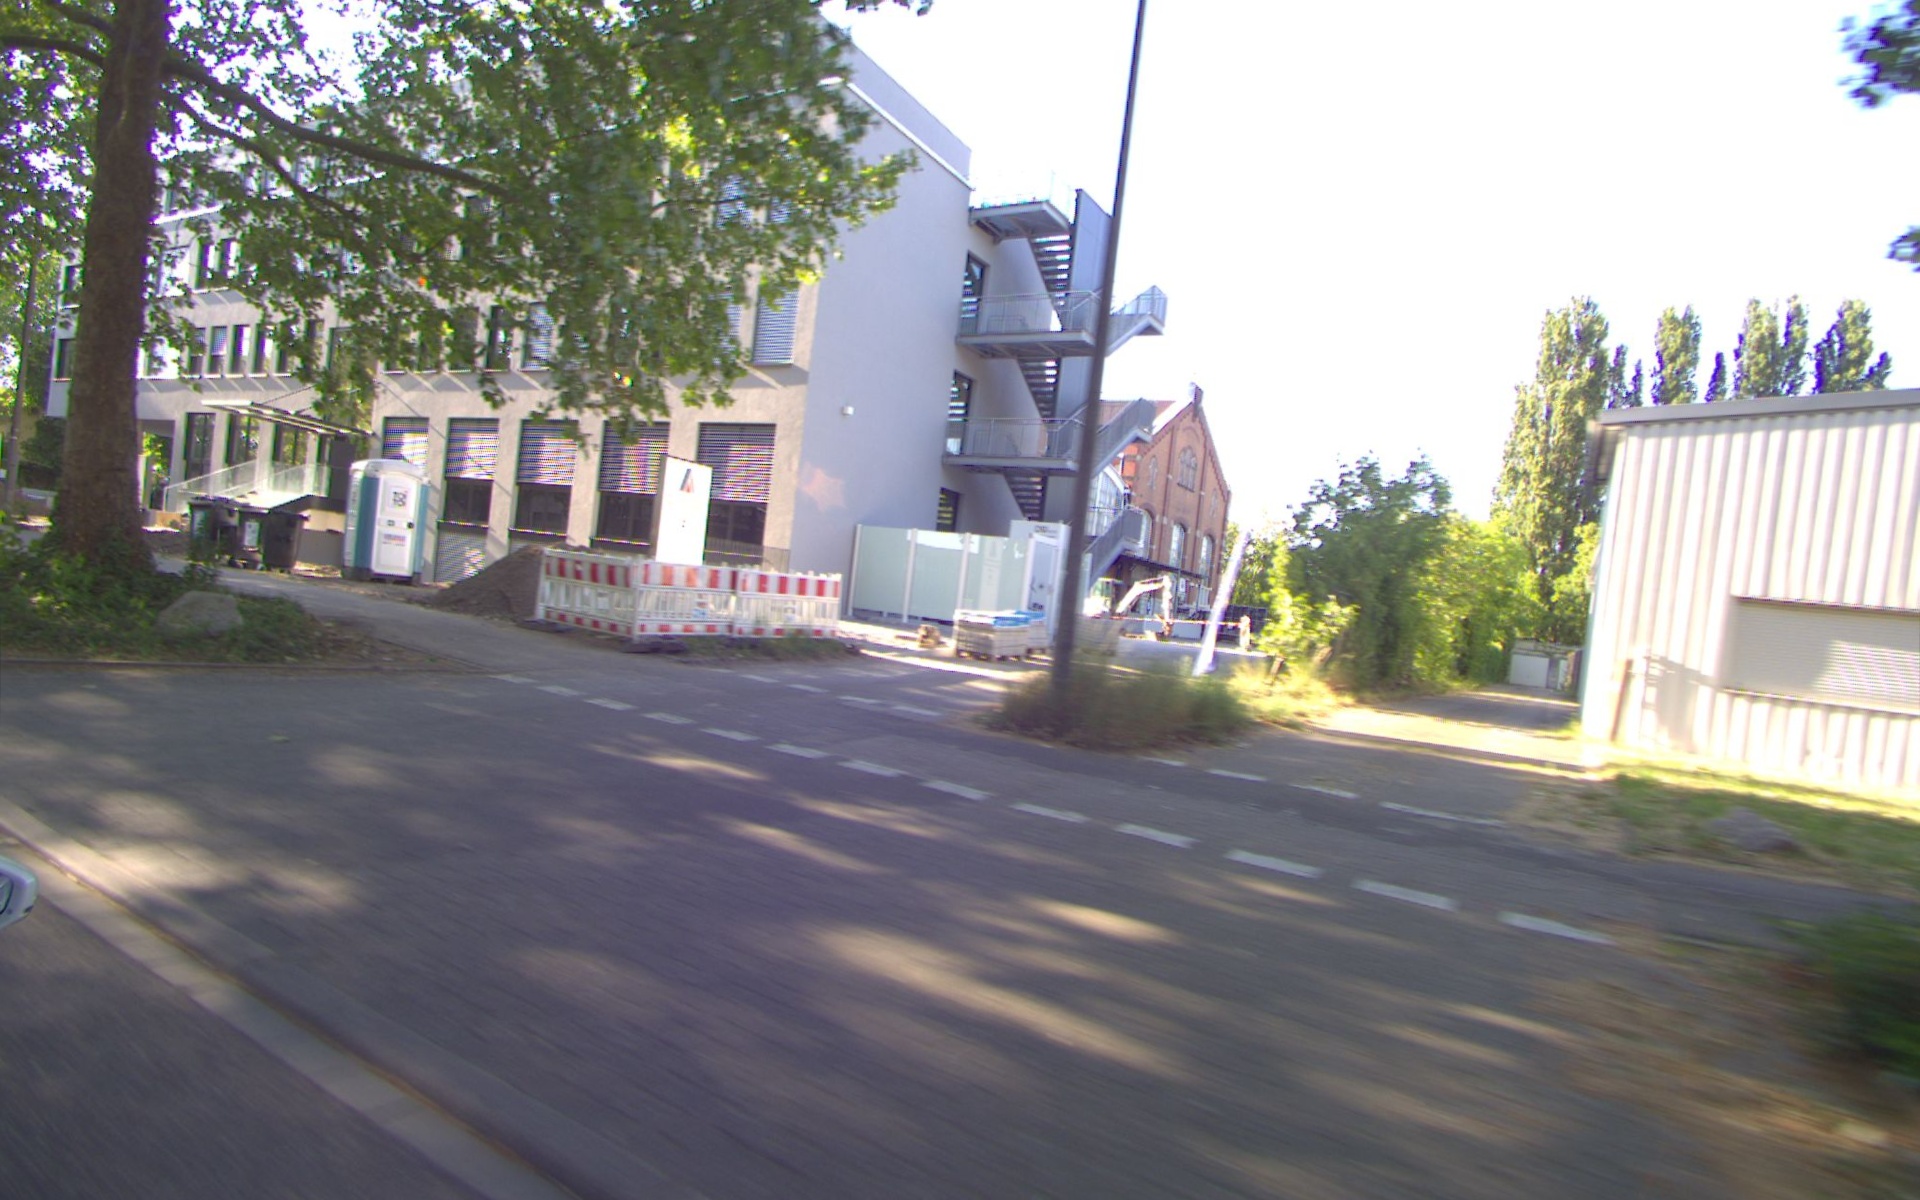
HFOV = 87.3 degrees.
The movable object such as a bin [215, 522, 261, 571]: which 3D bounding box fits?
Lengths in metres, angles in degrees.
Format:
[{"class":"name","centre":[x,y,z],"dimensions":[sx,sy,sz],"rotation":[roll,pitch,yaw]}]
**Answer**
[{"class":"movable object such as a bin","centre":[-14.916,-1.109,20.773],"dimensions":[0.589,0.911,0.493],"rotation":[7,-1,31]}]

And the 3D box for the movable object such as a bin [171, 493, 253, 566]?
[{"class":"movable object such as a bin","centre":[-15.859,-1.494,21.322],"dimensions":[1.594,1.366,0.749],"rotation":[6,-1,32]}]

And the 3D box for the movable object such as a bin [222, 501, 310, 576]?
[{"class":"movable object such as a bin","centre":[-13.679,-1.220,19.830],"dimensions":[1.585,1.278,0.749],"rotation":[6,-1,32]}]

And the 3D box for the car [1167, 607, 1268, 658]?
[{"class":"car","centre":[11.840,1.484,46.282],"dimensions":[3.933,1.769,1.997],"rotation":[6,-1,31]}]
